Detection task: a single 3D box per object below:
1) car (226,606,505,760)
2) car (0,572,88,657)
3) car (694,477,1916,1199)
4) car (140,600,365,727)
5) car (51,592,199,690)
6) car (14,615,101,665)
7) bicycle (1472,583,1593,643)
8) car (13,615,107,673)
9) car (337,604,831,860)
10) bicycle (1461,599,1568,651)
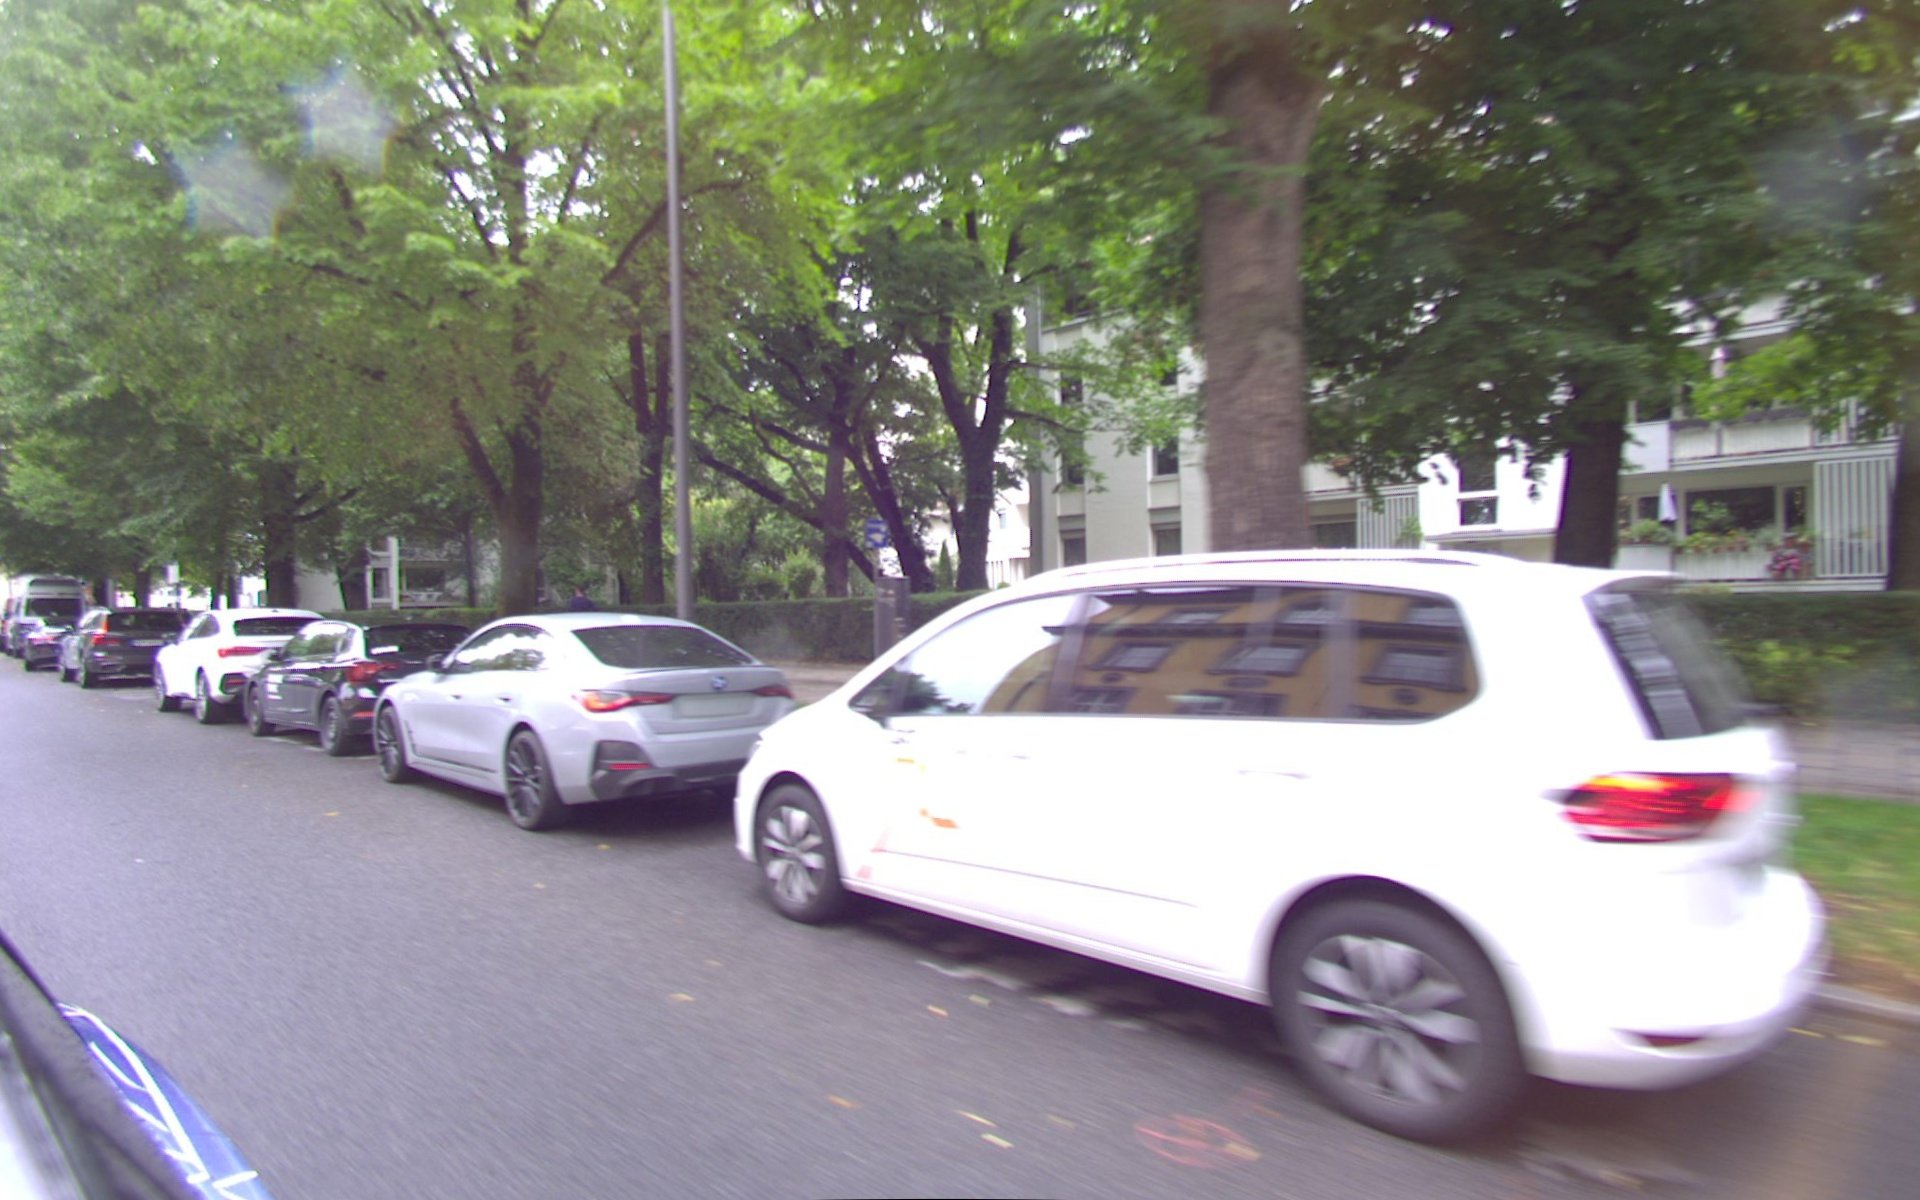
[{"bbox_3d":[-7.082,0.824,11.874,4.103,1.480,1.654,0,0,42],"label":"car"},{"bbox_3d":[-33.476,0.463,36.866,6.236,2.876,1.924,0,1,43],"label":"car"},{"bbox_3d":[0.854,0.609,4.230,1.745,1.634,4.525,3,-2,-45],"label":"car"},{"bbox_3d":[-10.712,0.825,15.176,4.583,1.609,1.765,0,0,42],"label":"car"},{"bbox_3d":[-18.000,0.834,21.739,4.547,1.891,1.765,-1,-1,42],"label":"car"},{"bbox_3d":[-29.059,1.255,32.537,4.579,1.449,1.770,-2,-1,44],"label":"car"},{"bbox_3d":[10.899,0.243,19.301,1.901,1.089,0.634,-1,0,39],"label":"bicycle"},{"bbox_3d":[-24.943,1.169,28.001,1.769,1.449,4.555,0,-1,-44],"label":"car"},{"bbox_3d":[-3.350,0.790,8.328,4.998,1.480,1.789,0,0,43],"label":"car"},{"bbox_3d":[11.701,0.517,21.389,1.901,1.045,0.634,-1,0,39],"label":"bicycle"}]
